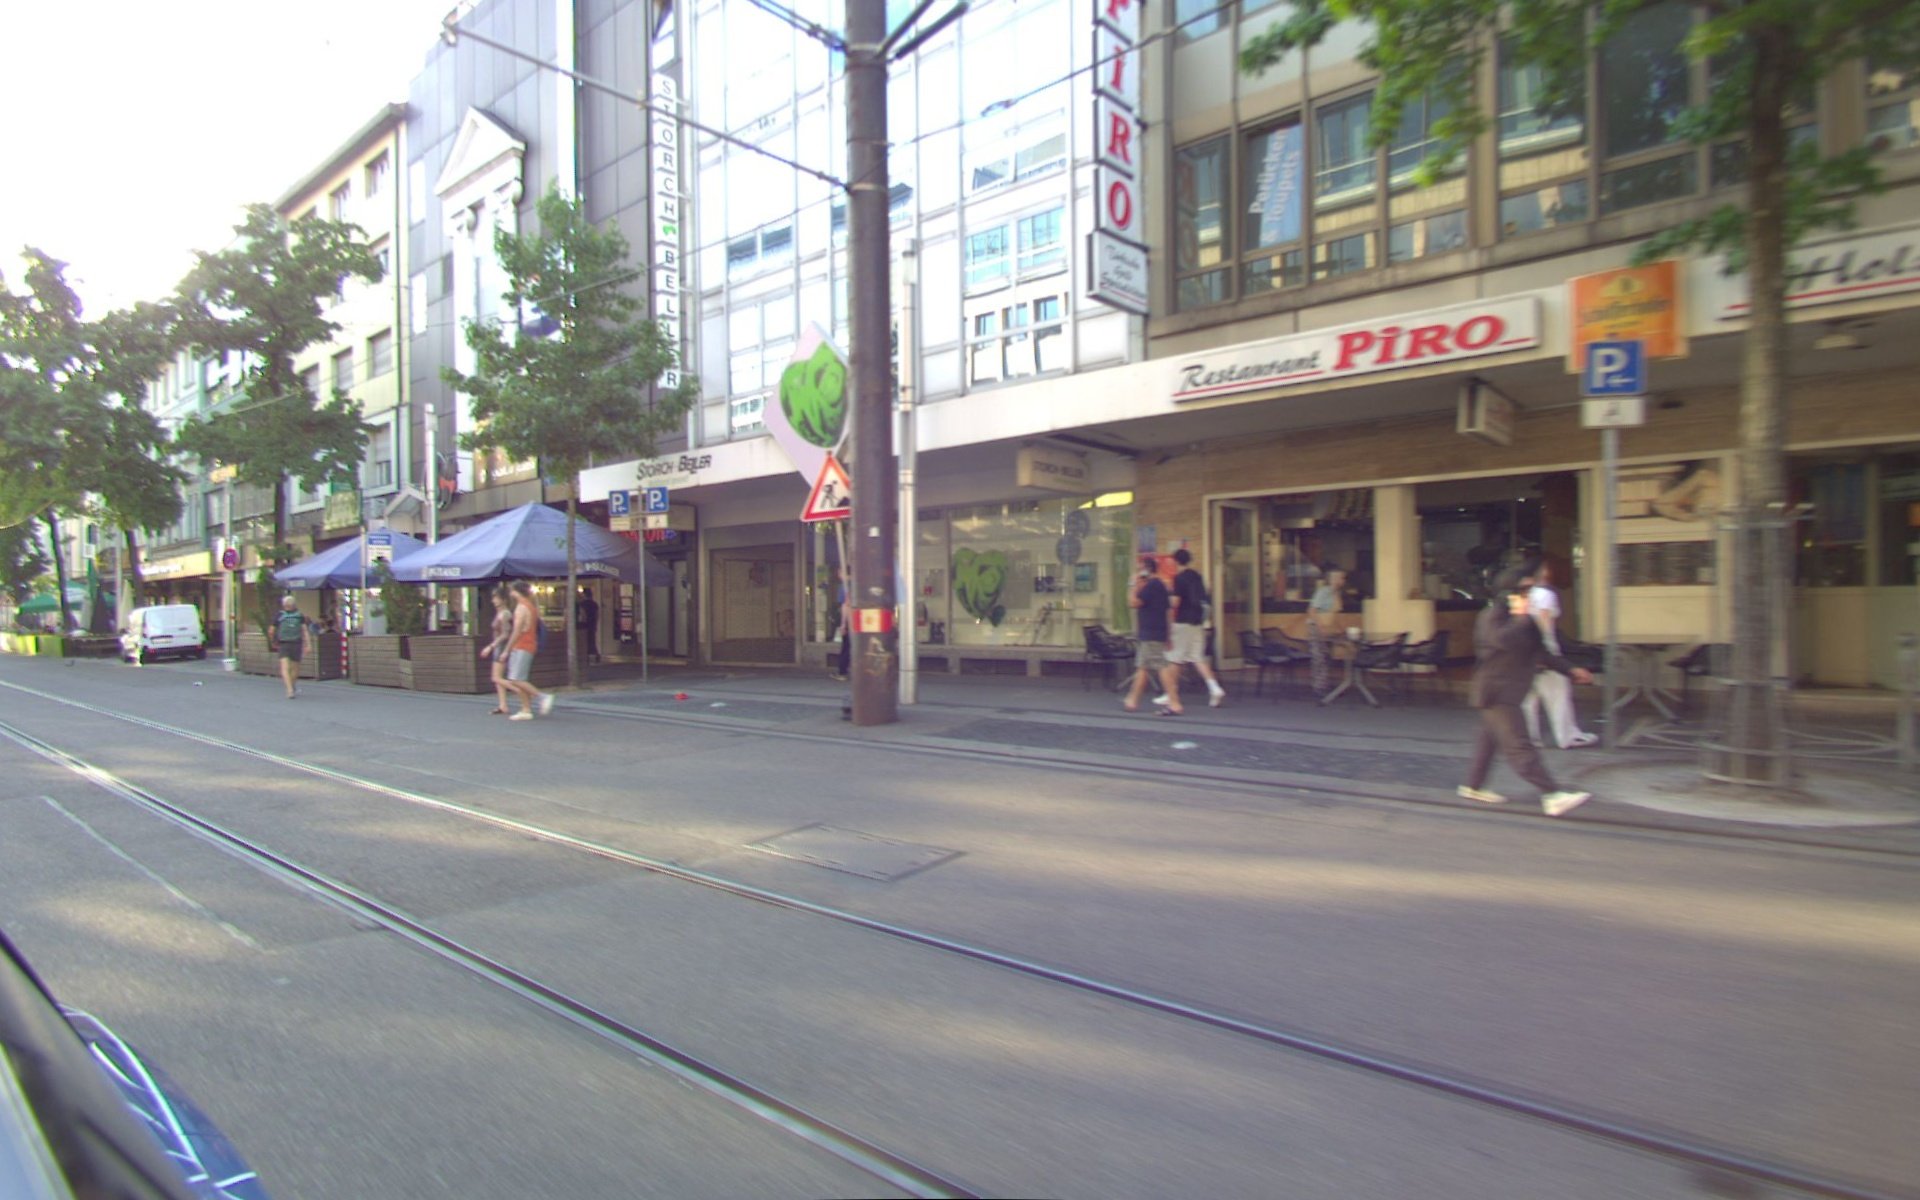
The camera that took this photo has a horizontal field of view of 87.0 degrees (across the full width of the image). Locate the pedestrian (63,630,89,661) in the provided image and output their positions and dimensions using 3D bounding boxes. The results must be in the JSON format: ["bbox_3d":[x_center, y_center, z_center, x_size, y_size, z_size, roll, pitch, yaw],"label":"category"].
[{"bbox_3d":[-37.101,1.904,42.486,0.797,1.202,0.650,-2,2,40],"label":"pedestrian"}]

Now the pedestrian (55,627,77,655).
[{"bbox_3d":[-42.081,1.941,47.629,0.696,1.254,0.613,-2,2,40],"label":"pedestrian"}]

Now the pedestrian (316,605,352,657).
[{"bbox_3d":[-21.032,1.042,33.998,1.004,1.698,0.660,-2,1,40],"label":"pedestrian"}]

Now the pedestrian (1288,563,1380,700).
[{"bbox_3d":[4.409,0.361,11.942,0.809,1.537,0.616,-2,1,41],"label":"pedestrian"}]

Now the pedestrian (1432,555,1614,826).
[{"bbox_3d":[3.538,0.524,6.362,0.852,1.561,0.616,-2,1,41],"label":"pedestrian"}]

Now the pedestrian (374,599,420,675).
[{"bbox_3d":[-13.303,0.856,23.900,0.675,1.737,0.710,-2,0,39],"label":"pedestrian"}]

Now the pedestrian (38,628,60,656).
[{"bbox_3d":[-43.096,1.995,47.869,0.696,1.254,0.613,-2,2,40],"label":"pedestrian"}]

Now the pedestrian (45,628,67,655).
[{"bbox_3d":[-44.889,2.044,50.268,0.869,1.269,0.700,-2,1,43],"label":"pedestrian"}]

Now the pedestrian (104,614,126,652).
[{"bbox_3d":[-40.949,1.587,49.069,0.697,1.770,0.670,-2,1,42],"label":"pedestrian"}]

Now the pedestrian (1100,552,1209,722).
[{"bbox_3d":[2.121,0.382,11.050,0.933,1.760,0.616,-2,1,41],"label":"pedestrian"}]

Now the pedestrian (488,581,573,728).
[{"bbox_3d":[-5.456,0.662,12.844,0.838,1.754,0.837,-2,1,-30],"label":"pedestrian"}]

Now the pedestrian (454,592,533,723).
[{"bbox_3d":[-6.241,0.738,13.527,0.837,1.650,0.764,-2,1,-30],"label":"pedestrian"}]

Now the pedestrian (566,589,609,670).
[{"bbox_3d":[-8.375,0.659,22.740,0.671,1.758,0.591,-2,1,41],"label":"pedestrian"}]

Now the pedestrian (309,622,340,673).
[{"bbox_3d":[-15.761,1.172,25.110,0.535,1.237,0.490,-2,0,40],"label":"pedestrian"}]

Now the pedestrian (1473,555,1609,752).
[{"bbox_3d":[4.794,0.413,8.356,0.833,1.520,0.616,-2,1,41],"label":"pedestrian"}]

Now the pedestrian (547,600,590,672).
[{"bbox_3d":[-8.639,0.787,22.347,0.671,1.544,0.591,-2,1,41],"label":"pedestrian"}]

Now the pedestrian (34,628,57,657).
[{"bbox_3d":[-42.413,1.963,46.936,0.696,1.254,0.613,-2,2,40],"label":"pedestrian"}]

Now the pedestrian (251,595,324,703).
[{"bbox_3d":[-11.833,0.838,17.812,0.790,1.814,0.832,-2,1,41],"label":"pedestrian"}]

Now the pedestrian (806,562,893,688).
[{"bbox_3d":[-1.780,0.384,16.299,1.069,1.937,0.793,-2,1,38],"label":"pedestrian"}]

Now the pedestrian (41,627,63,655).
[{"bbox_3d":[-45.886,2.057,51.146,0.781,1.357,0.700,-2,1,43],"label":"pedestrian"}]

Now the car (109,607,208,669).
[{"bbox_3d":[-27.065,1.252,34.132,4.552,1.878,1.777,-2,2,42],"label":"car"}]

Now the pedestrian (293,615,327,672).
[{"bbox_3d":[-16.712,1.113,26.018,0.582,1.440,0.544,-2,0,40],"label":"pedestrian"}]

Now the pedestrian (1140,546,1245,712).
[{"bbox_3d":[2.657,0.314,11.571,0.933,1.817,0.616,-2,1,41],"label":"pedestrian"}]

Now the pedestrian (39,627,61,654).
[{"bbox_3d":[-46.529,2.048,51.743,0.806,1.321,0.682,-2,1,41],"label":"pedestrian"}]

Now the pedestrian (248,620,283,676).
[{"bbox_3d":[-17.370,1.186,25.314,0.582,1.366,0.544,-2,0,40],"label":"pedestrian"}]
